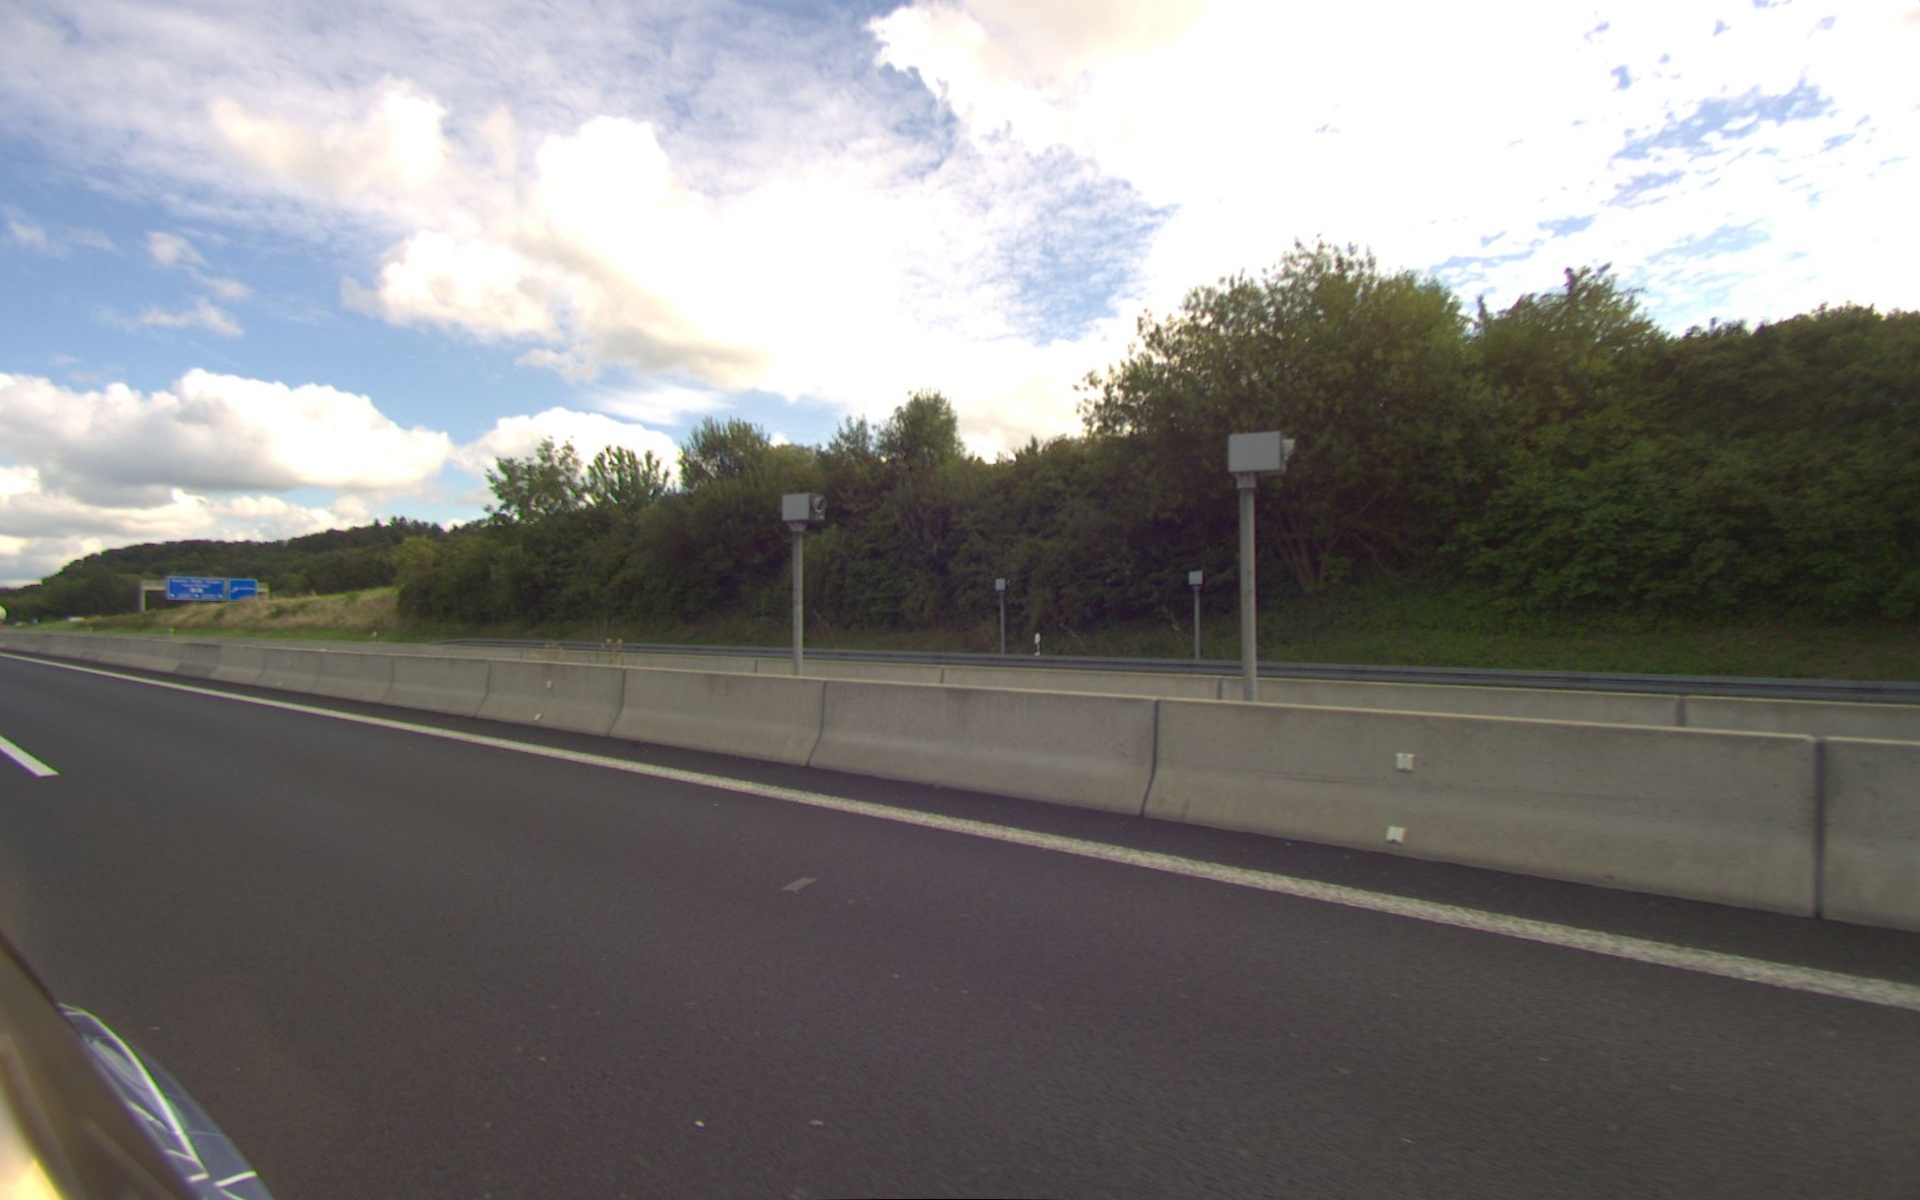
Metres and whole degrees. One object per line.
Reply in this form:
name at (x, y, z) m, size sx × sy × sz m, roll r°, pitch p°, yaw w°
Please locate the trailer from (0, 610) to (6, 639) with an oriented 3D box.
trailer at (-133.621, 3.378, 139.114) m, size 11.159 × 3.916 × 2.684 m, roll -1°, pitch -3°, yaw 43°
